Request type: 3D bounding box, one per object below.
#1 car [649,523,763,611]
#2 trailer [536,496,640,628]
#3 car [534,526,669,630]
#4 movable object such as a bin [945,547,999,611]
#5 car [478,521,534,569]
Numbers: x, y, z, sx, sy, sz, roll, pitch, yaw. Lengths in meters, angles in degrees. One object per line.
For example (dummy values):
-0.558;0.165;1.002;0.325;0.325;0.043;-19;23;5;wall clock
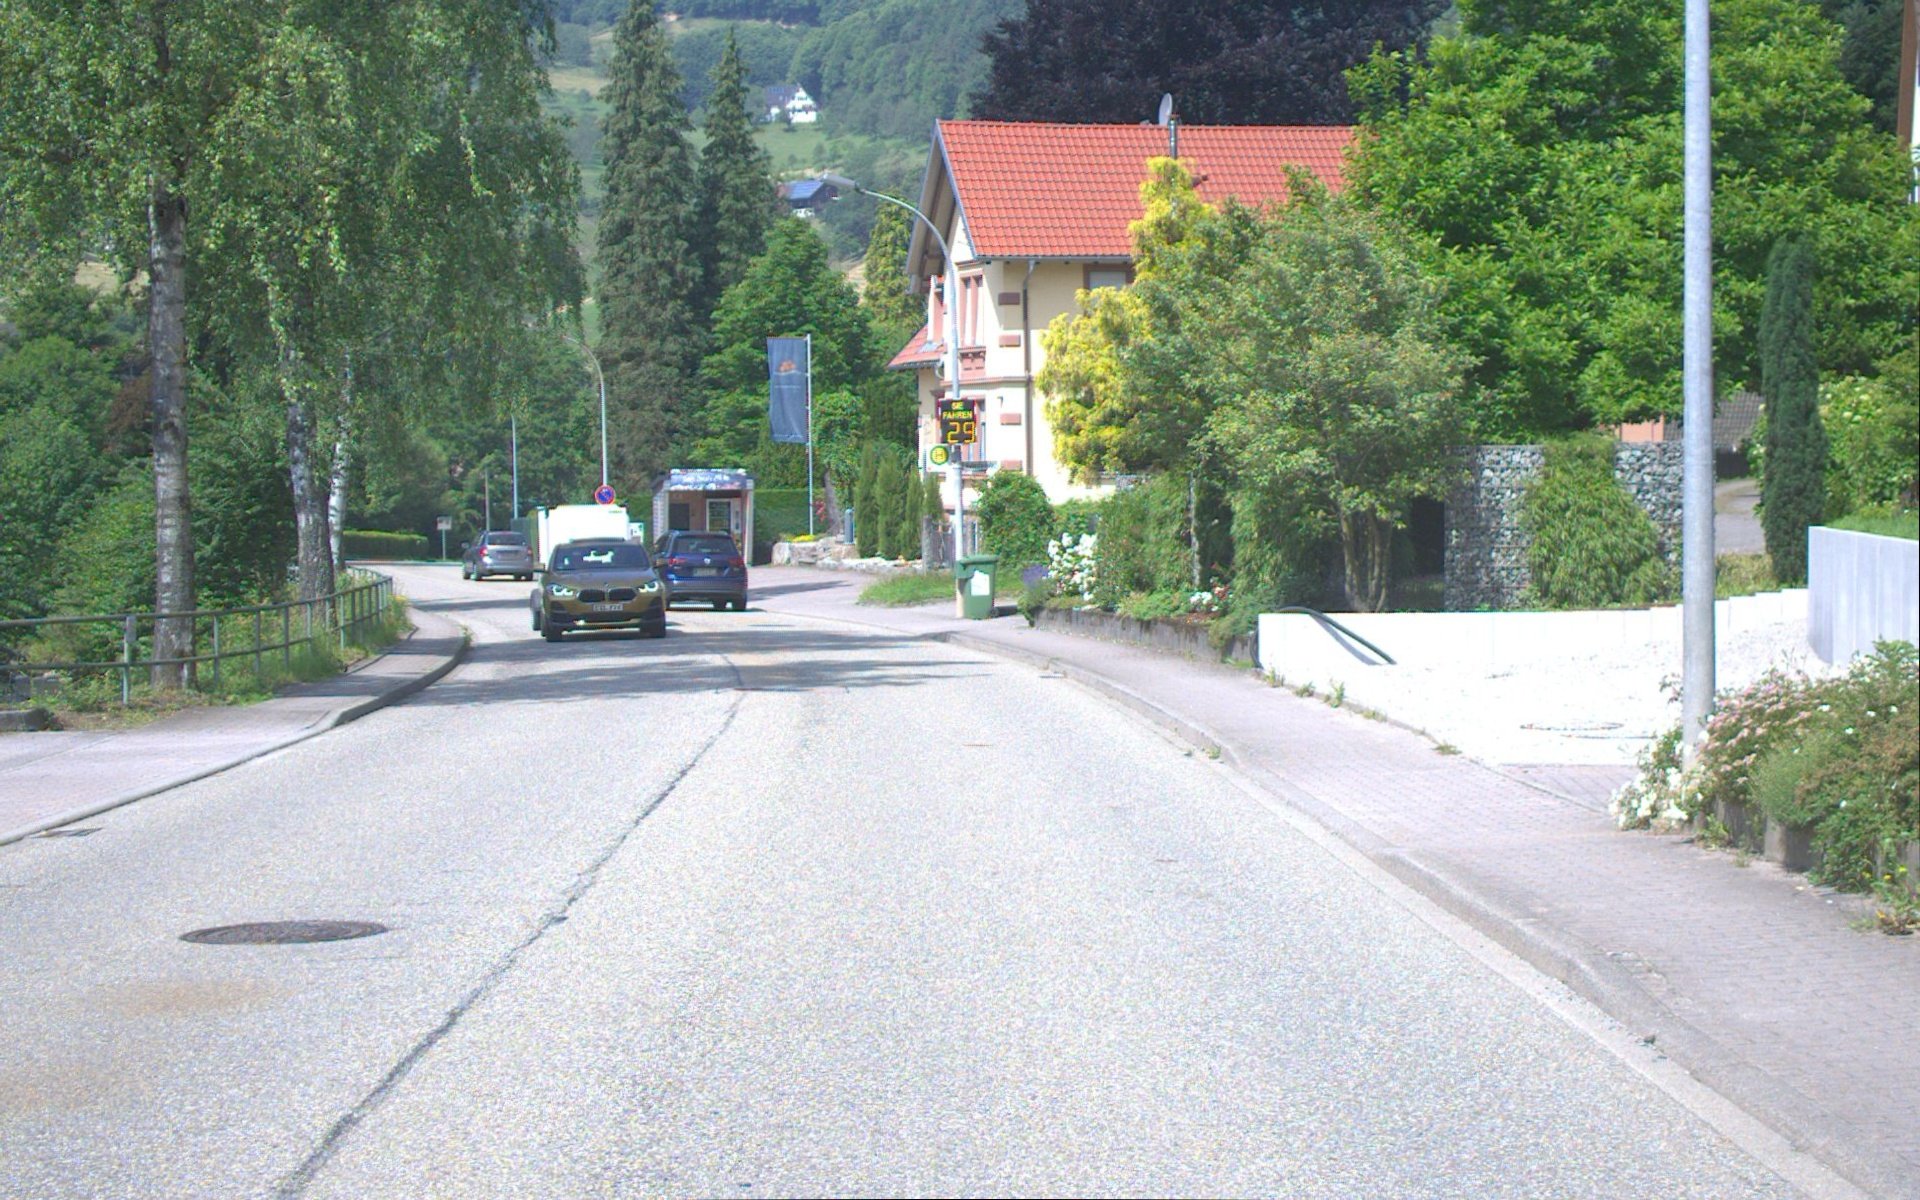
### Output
-5.246;-0.695;70.563;1.919;1.692;3.789;-2;1;-10;car
-6.145;-0.650;57.068;1.466;2.070;3.671;-2;1;-3;trailer
-5.476;-0.366;52.960;1.813;1.495;4.150;-2;1;-3;car
0.196;-0.354;57.965;0.809;1.039;0.579;-2;2;-9;movable object such as a bin
-13.583;-1.650;102.712;1.628;1.417;3.399;0;1;-8;car
